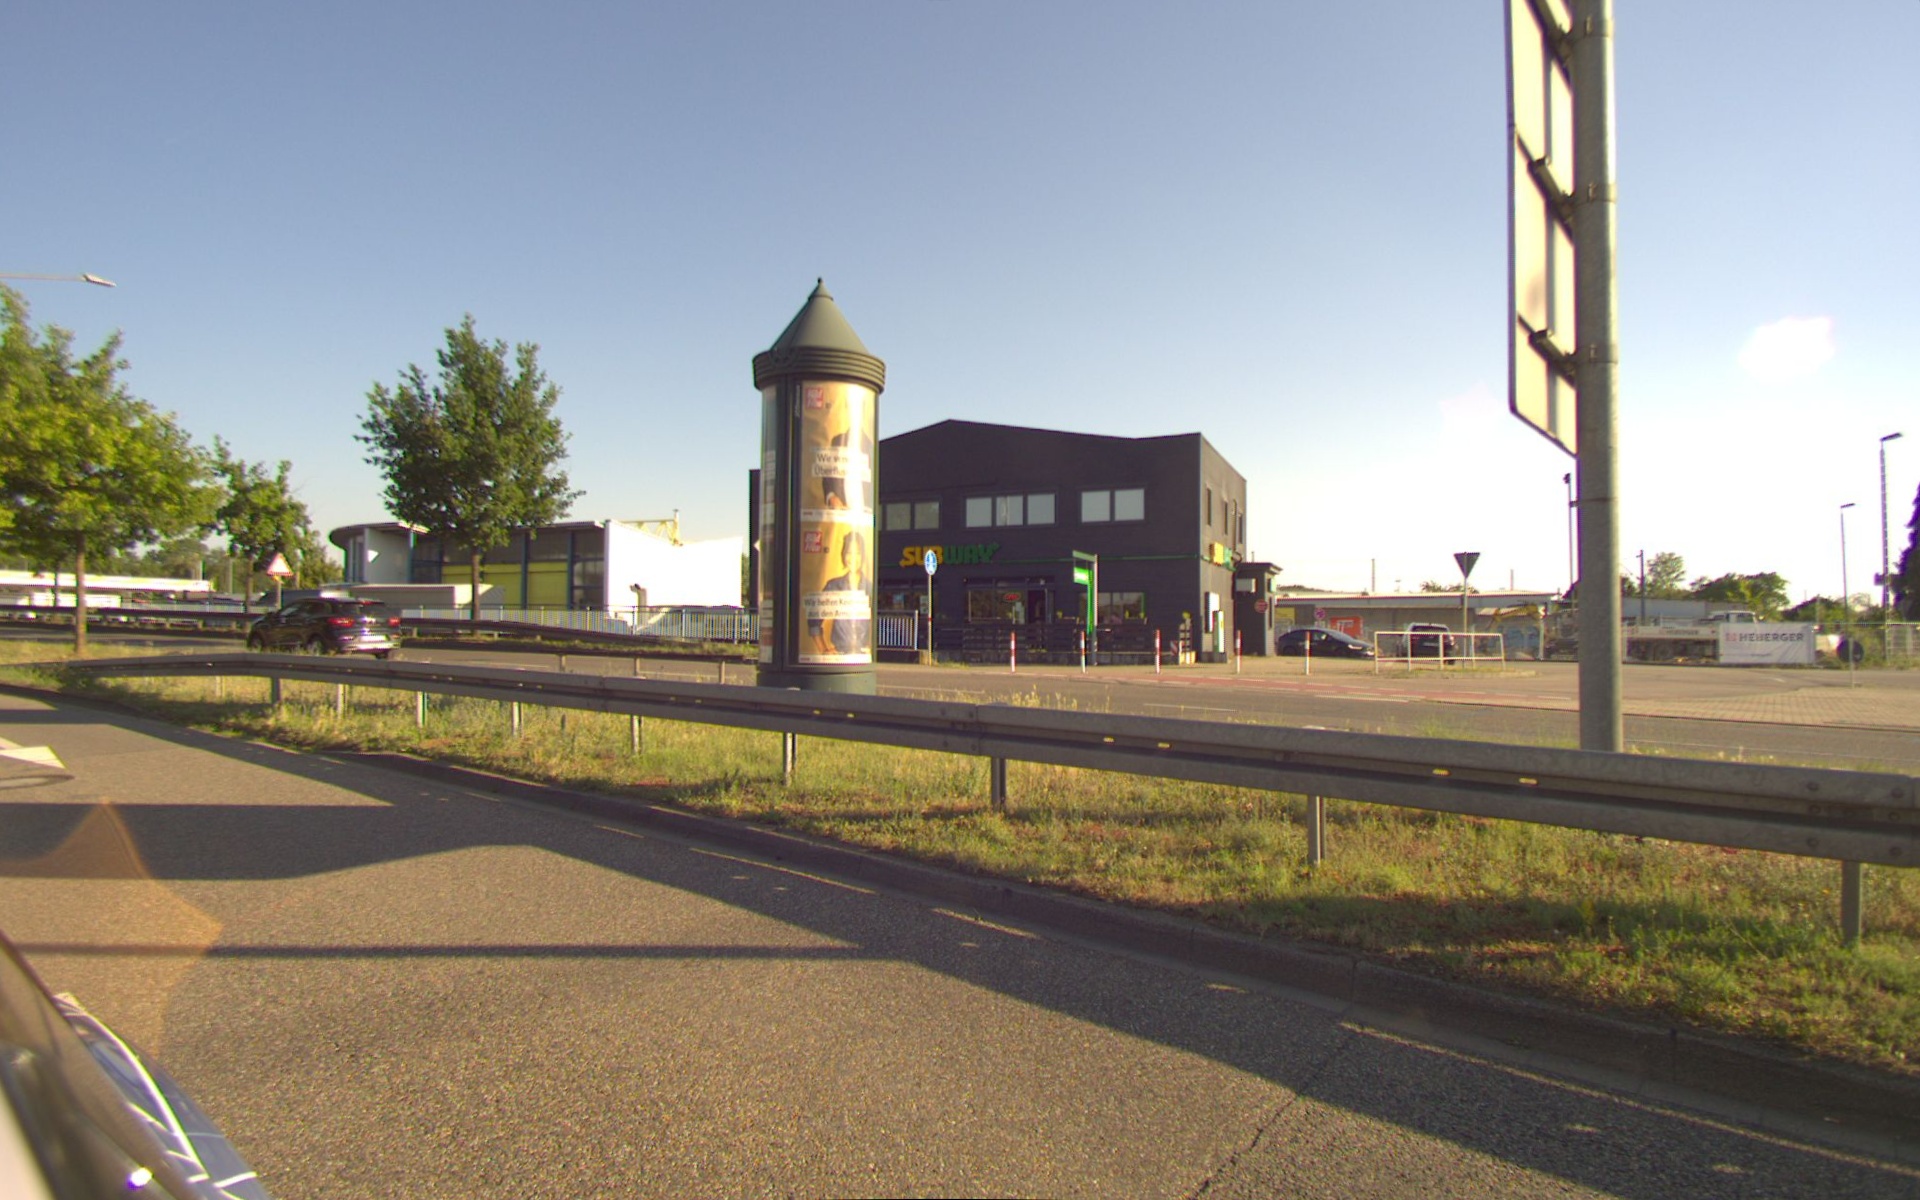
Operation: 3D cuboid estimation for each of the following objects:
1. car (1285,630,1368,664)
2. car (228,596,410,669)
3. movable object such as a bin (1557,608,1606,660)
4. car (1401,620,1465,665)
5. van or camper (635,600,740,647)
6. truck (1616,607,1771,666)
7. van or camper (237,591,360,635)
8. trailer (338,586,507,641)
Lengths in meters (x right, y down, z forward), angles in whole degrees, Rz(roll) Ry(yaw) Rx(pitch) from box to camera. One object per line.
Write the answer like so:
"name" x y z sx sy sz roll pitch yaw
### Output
"car" 18.373 2.345 50.868 1.654 1.519 3.690 5 -4 -32
"car" -15.851 0.763 25.006 4.372 1.616 1.835 1 -1 27
"movable object such as a bin" 33.831 1.845 55.155 2.212 2.735 1.721 1 -1 31
"car" 17.494 1.518 37.598 1.831 1.541 3.972 1 -1 21
"van or camper" -12.427 1.079 46.177 4.157 1.940 2.006 3 -1 -32
"truck" 41.414 2.025 57.314 6.702 3.168 2.432 1 -1 9
"van or camper" -27.997 0.523 42.829 4.929 1.698 1.984 1 -1 23
"trailer" -21.256 0.495 39.972 6.567 1.985 2.407 1 -1 25
